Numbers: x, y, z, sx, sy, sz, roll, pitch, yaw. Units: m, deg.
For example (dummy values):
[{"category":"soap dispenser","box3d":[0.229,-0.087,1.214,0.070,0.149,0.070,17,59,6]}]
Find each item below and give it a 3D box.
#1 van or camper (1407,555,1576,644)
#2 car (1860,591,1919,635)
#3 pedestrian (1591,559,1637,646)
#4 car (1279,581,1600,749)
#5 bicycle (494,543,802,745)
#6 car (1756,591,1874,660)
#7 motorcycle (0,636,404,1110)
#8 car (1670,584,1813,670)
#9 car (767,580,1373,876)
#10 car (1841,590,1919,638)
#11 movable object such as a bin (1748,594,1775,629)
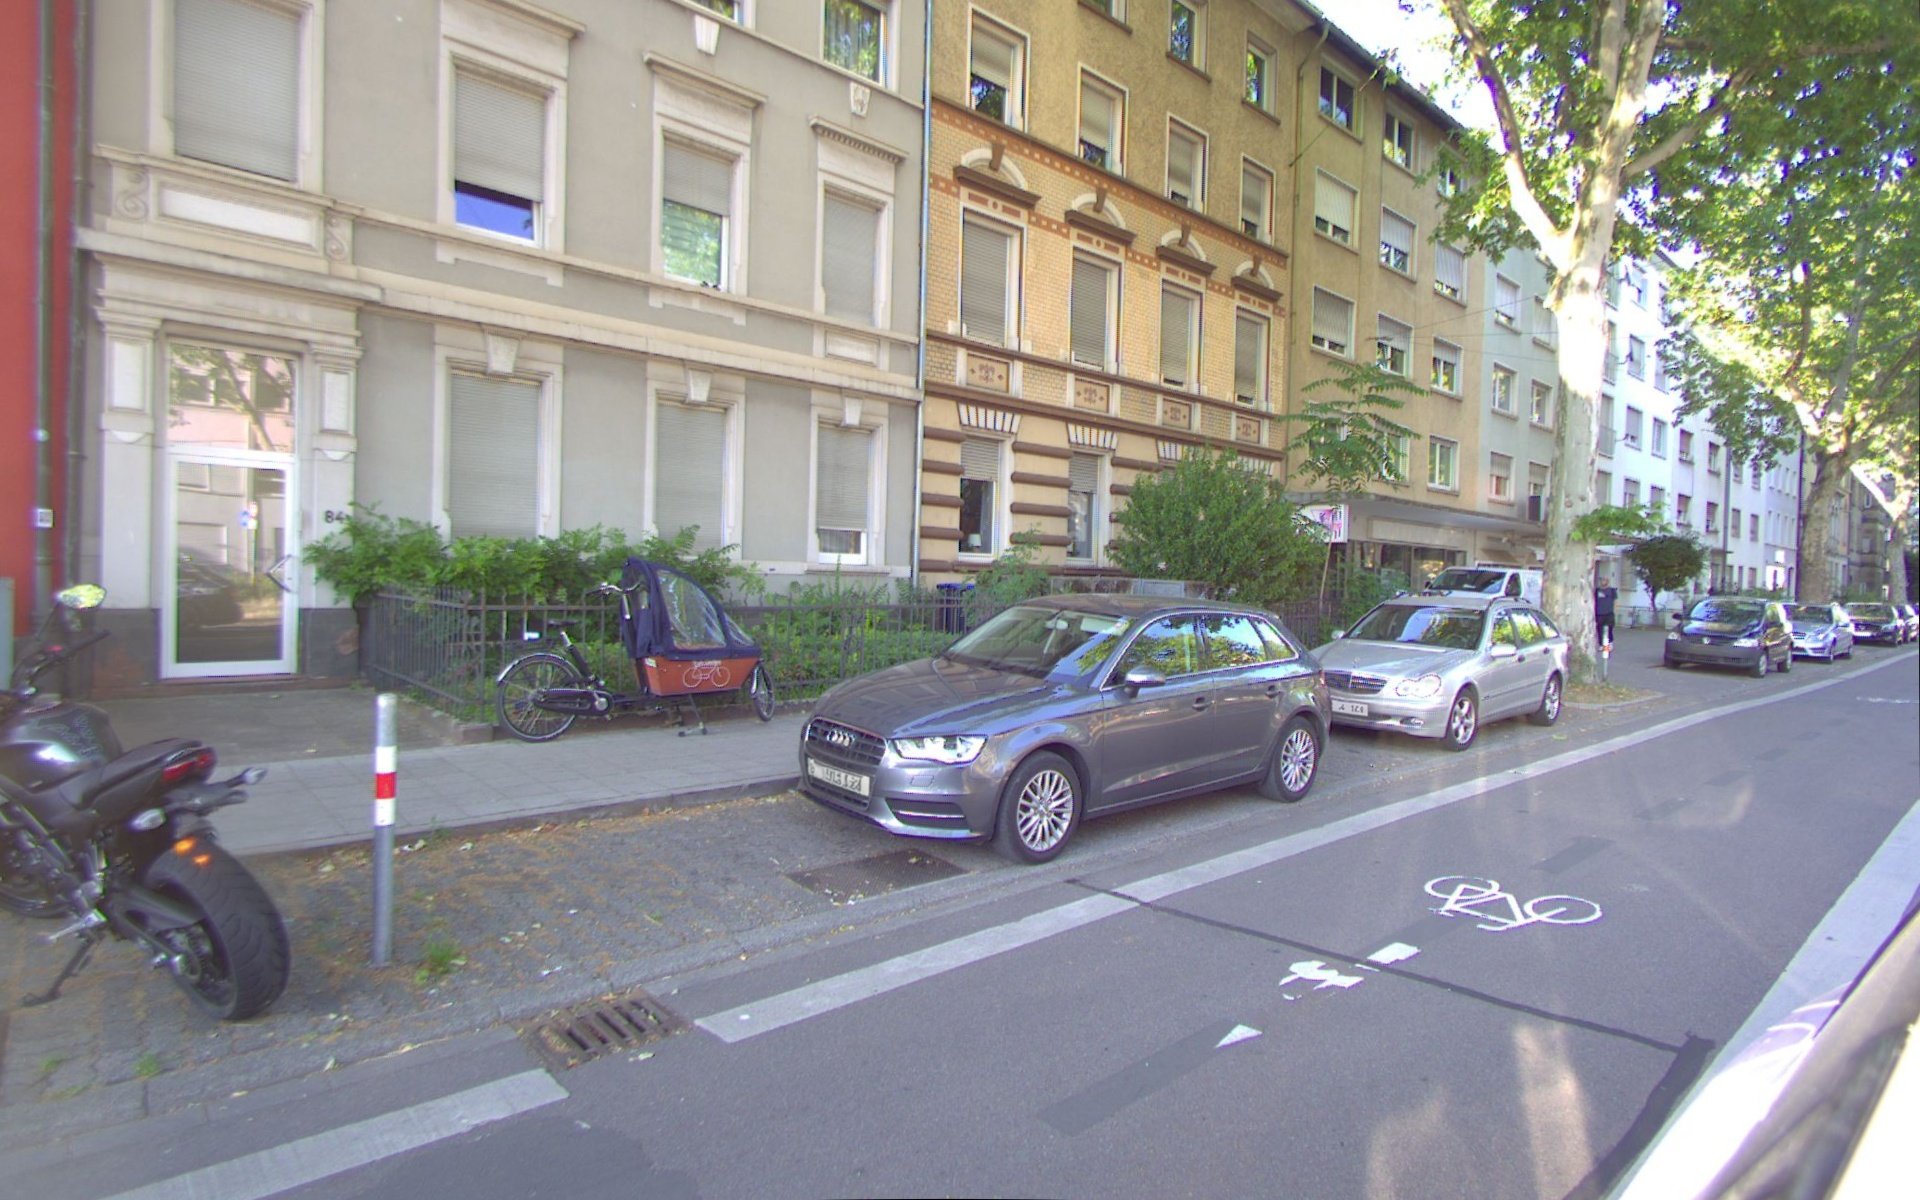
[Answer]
[{"category":"van or camper","box3d":[13.176,-0.057,24.924,5.299,1.946,1.945,0,2,-42]},{"category":"car","box3d":[35.191,0.449,37.887,4.289,1.432,1.712,-1,4,-42]},{"category":"pedestrian","box3d":[15.805,0.051,24.460,0.995,2.038,0.683,0,1,-43]},{"category":"car","box3d":[5.460,0.558,11.216,4.494,1.469,1.676,0,2,-43]},{"category":"bicycle","box3d":[-2.463,0.301,8.241,2.354,1.445,0.608,-1,0,-41]},{"category":"car","box3d":[21.997,0.586,25.967,4.695,1.561,1.697,0,2,-42]},{"category":"motorcycle","box3d":[-3.024,0.770,3.581,2.193,1.076,0.760,4,2,28]},{"category":"car","box3d":[16.243,0.496,20.972,3.932,1.564,1.656,0,2,-42]},{"category":"car","box3d":[0.973,0.610,6.988,4.245,1.414,1.714,0,2,-41]},{"category":"car","box3d":[31.665,0.445,34.618,4.289,1.432,1.712,-1,4,-42]},{"category":"movable object such as a bin","box3d":[28.095,0.390,35.476,0.655,1.173,0.616,0,2,-44]}]
